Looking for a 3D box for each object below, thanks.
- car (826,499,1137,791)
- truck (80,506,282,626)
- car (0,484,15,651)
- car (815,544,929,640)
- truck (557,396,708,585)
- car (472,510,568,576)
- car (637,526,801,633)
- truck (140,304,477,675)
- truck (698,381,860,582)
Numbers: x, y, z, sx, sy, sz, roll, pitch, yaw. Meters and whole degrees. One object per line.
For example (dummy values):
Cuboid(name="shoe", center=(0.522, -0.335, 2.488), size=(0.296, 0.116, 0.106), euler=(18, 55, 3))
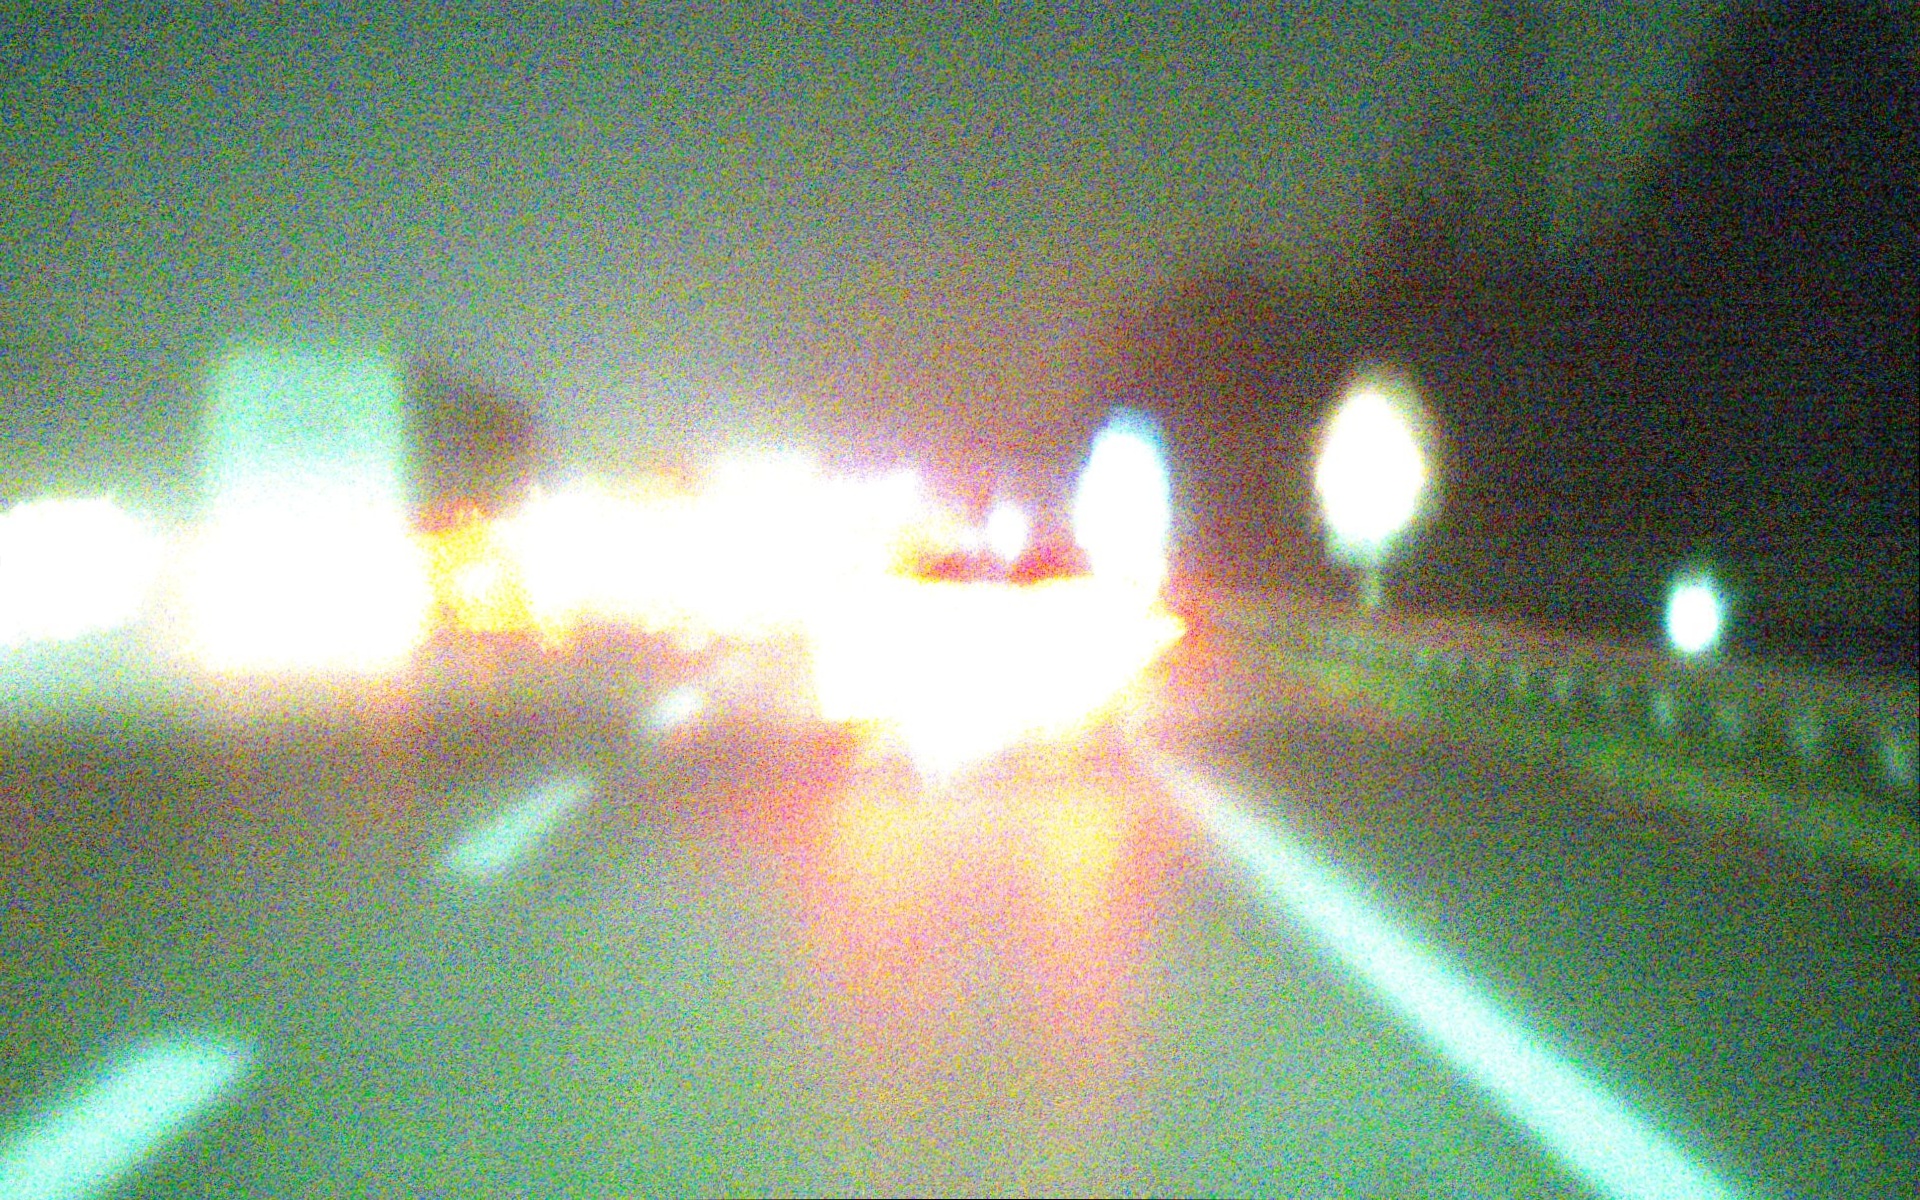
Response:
Cuboid(name="car", center=(0.137, 0.242, 23.025), size=(1.878, 1.756, 4.000), euler=(1, 1, 0))
Cuboid(name="truck", center=(-15.028, -0.682, 66.703), size=(2.857, 2.193, 5.859), euler=(1, 1, -3))
Cuboid(name="car", center=(-12.947, -0.368, 41.148), size=(2.123, 2.097, 5.630), euler=(0, 1, -4))
Cuboid(name="car", center=(-1.596, -0.176, 63.721), size=(1.993, 1.698, 4.459), euler=(1, 1, 0))
Cuboid(name="truck", center=(-9.948, -3.282, 105.675), size=(4.253, 5.425, 10.886), euler=(1, 1, -4))
Cuboid(name="car", center=(-11.738, -1.535, 91.976), size=(1.993, 1.698, 4.459), euler=(1, 1, 0))
Cuboid(name="car", center=(-4.711, -0.434, 68.150), size=(2.833, 2.007, 5.510), euler=(1, 1, 0))
Cuboid(name="truck", center=(-9.092, -1.501, 49.255), size=(3.655, 4.721, 9.854), euler=(1, 1, -5))
Cuboid(name="truck", center=(-5.012, -3.182, 95.084), size=(4.161, 5.197, 9.955), euler=(1, 1, -3))
